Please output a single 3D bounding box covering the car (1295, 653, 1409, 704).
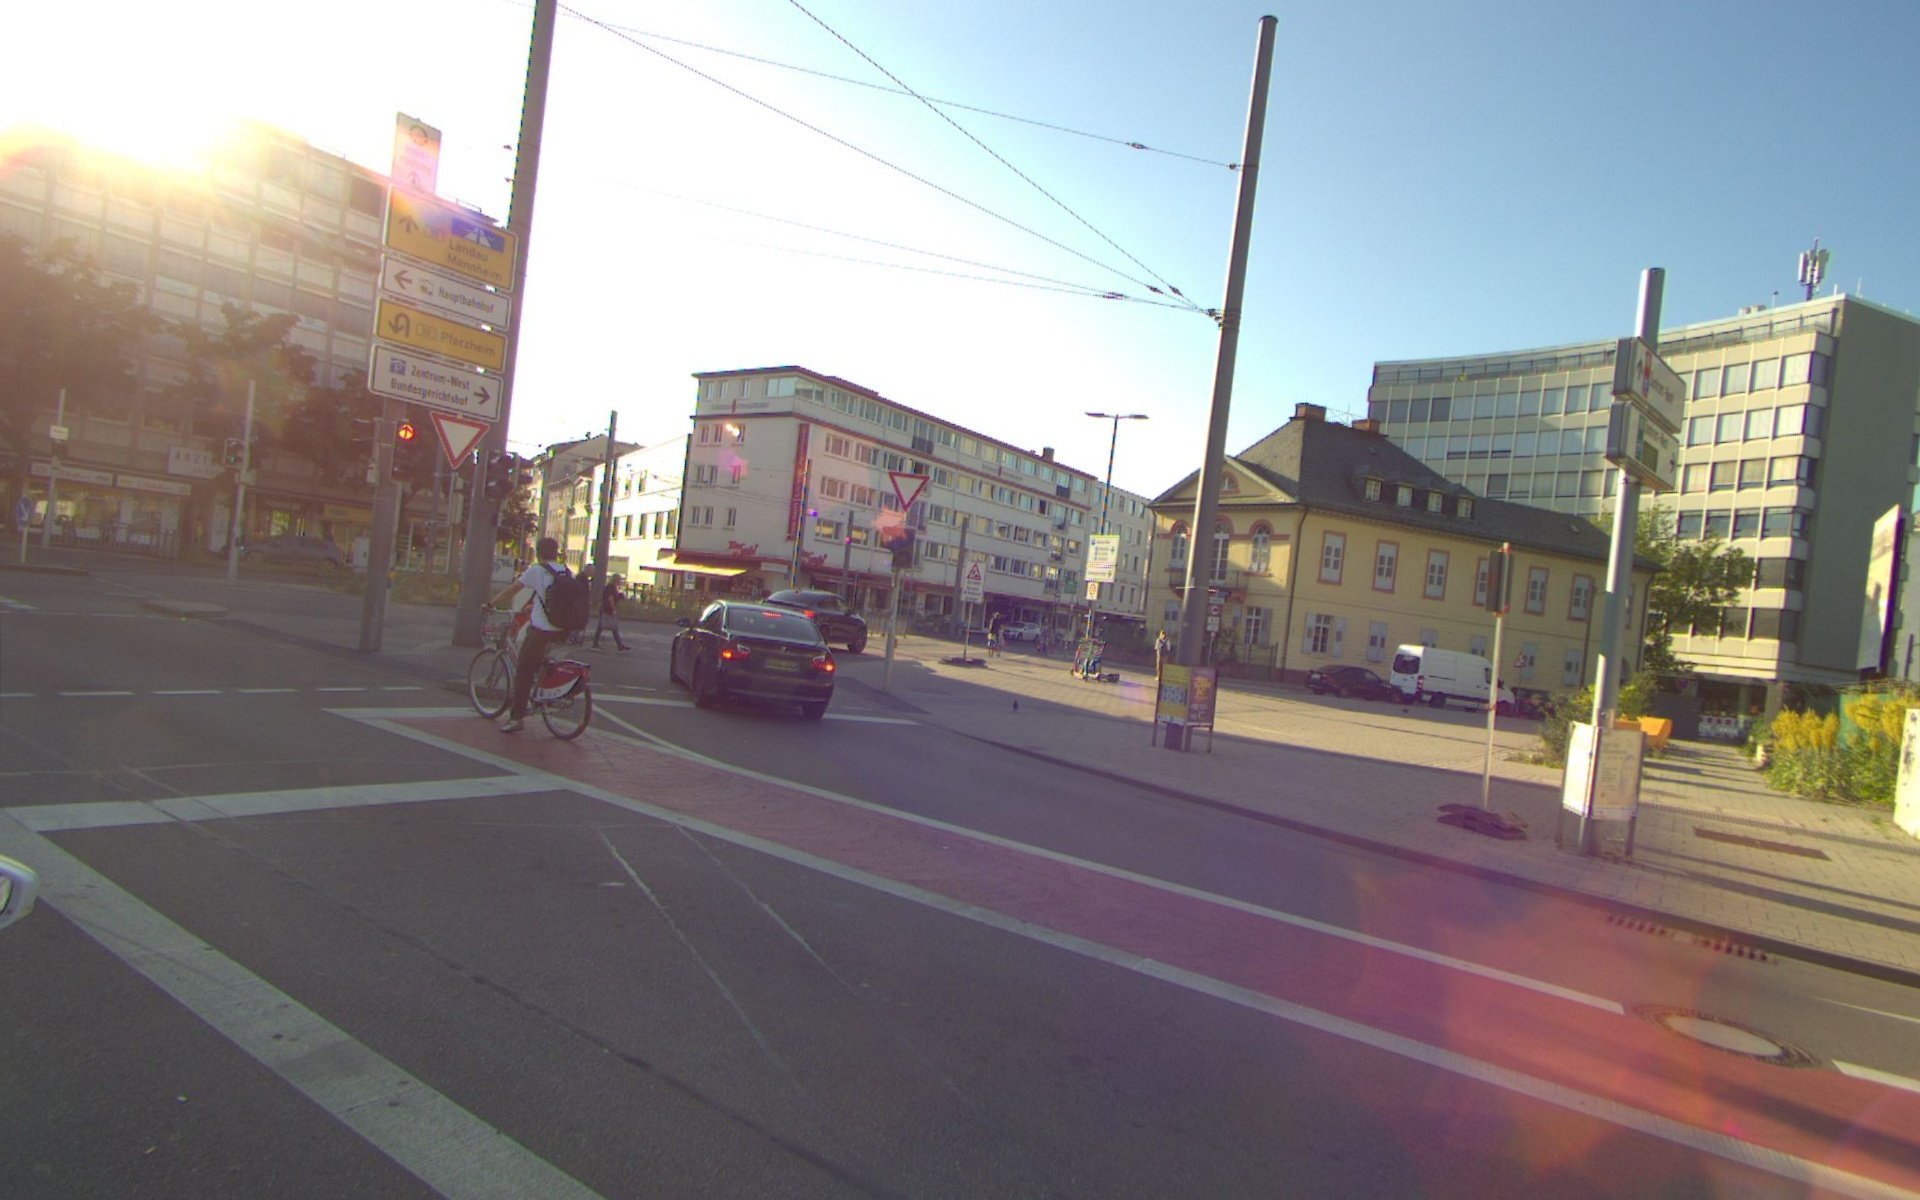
[{"bbox_3d":[16.651,3.326,42.769,4.101,1.593,1.992,7,0,-18],"label":"car"}]

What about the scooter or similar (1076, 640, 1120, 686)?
[{"bbox_3d":[4.344,1.975,31.747,0.563,1.274,1.334,6,0,-28],"label":"scooter or similar"}]

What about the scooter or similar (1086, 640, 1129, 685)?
[{"bbox_3d":[4.726,2.010,32.325,0.563,1.274,1.334,6,0,-28],"label":"scooter or similar"}]

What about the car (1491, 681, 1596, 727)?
[{"bbox_3d":[27.107,4.838,46.795,3.941,1.593,1.992,7,0,-18],"label":"car"}]

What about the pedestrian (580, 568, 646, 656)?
[{"bbox_3d":[-6.754,0.241,19.602,0.644,1.617,0.879,7,1,30],"label":"pedestrian"}]

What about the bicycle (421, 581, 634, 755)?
[{"bbox_3d":[-4.000,0.592,9.234,2.014,1.237,0.645,9,0,33],"label":"bicycle"}]

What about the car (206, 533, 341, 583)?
[{"bbox_3d":[-27.672,-1.675,40.665,1.969,1.437,3.989,7,-1,35],"label":"car"}]

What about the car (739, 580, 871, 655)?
[{"bbox_3d":[-4.462,0.580,29.613,1.963,1.713,4.002,8,-1,20],"label":"car"}]

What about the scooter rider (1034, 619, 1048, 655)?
[{"bbox_3d":[4.536,2.070,56.405,0.492,1.943,0.533,7,1,-3],"label":"scooter rider"}]

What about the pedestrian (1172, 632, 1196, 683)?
[{"bbox_3d":[8.422,2.168,37.799,0.587,1.847,0.728,7,0,23],"label":"pedestrian"}]

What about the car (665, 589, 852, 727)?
[{"bbox_3d":[-2.970,0.711,14.119,1.726,1.443,3.980,7,-1,-22],"label":"car"}]

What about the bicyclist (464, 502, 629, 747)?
[{"bbox_3d":[-3.749,0.212,9.118,1.049,2.037,0.644,9,0,33],"label":"bicyclist"}]

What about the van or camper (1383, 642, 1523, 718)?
[{"bbox_3d":[21.872,3.531,44.626,5.524,2.668,1.992,7,0,-18],"label":"van or camper"}]

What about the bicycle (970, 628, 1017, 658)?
[{"bbox_3d":[1.349,1.732,40.267,0.671,1.039,2.227,7,-1,35],"label":"bicycle"}]

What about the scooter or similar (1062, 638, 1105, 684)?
[{"bbox_3d":[3.848,1.898,31.431,0.563,1.274,1.334,6,0,-28],"label":"scooter or similar"}]

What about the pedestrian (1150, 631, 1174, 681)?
[{"bbox_3d":[7.664,2.121,38.130,0.587,1.847,0.728,7,0,23],"label":"pedestrian"}]

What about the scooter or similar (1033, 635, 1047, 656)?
[{"bbox_3d":[4.494,2.536,56.320,0.485,1.046,1.386,7,0,-3],"label":"scooter or similar"}]

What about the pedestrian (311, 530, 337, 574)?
[{"bbox_3d":[-30.934,-2.318,48.931,0.549,2.038,0.707,7,1,35],"label":"pedestrian"}]

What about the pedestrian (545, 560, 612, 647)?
[{"bbox_3d":[-7.553,0.082,19.934,0.644,1.617,0.879,7,1,30],"label":"pedestrian"}]

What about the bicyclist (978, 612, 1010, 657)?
[{"bbox_3d":[1.347,1.392,40.203,0.680,1.682,0.959,7,0,35],"label":"bicyclist"}]

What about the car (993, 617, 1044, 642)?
[{"bbox_3d":[4.874,2.481,82.977,1.971,1.597,4.307,7,-1,39],"label":"car"}]
